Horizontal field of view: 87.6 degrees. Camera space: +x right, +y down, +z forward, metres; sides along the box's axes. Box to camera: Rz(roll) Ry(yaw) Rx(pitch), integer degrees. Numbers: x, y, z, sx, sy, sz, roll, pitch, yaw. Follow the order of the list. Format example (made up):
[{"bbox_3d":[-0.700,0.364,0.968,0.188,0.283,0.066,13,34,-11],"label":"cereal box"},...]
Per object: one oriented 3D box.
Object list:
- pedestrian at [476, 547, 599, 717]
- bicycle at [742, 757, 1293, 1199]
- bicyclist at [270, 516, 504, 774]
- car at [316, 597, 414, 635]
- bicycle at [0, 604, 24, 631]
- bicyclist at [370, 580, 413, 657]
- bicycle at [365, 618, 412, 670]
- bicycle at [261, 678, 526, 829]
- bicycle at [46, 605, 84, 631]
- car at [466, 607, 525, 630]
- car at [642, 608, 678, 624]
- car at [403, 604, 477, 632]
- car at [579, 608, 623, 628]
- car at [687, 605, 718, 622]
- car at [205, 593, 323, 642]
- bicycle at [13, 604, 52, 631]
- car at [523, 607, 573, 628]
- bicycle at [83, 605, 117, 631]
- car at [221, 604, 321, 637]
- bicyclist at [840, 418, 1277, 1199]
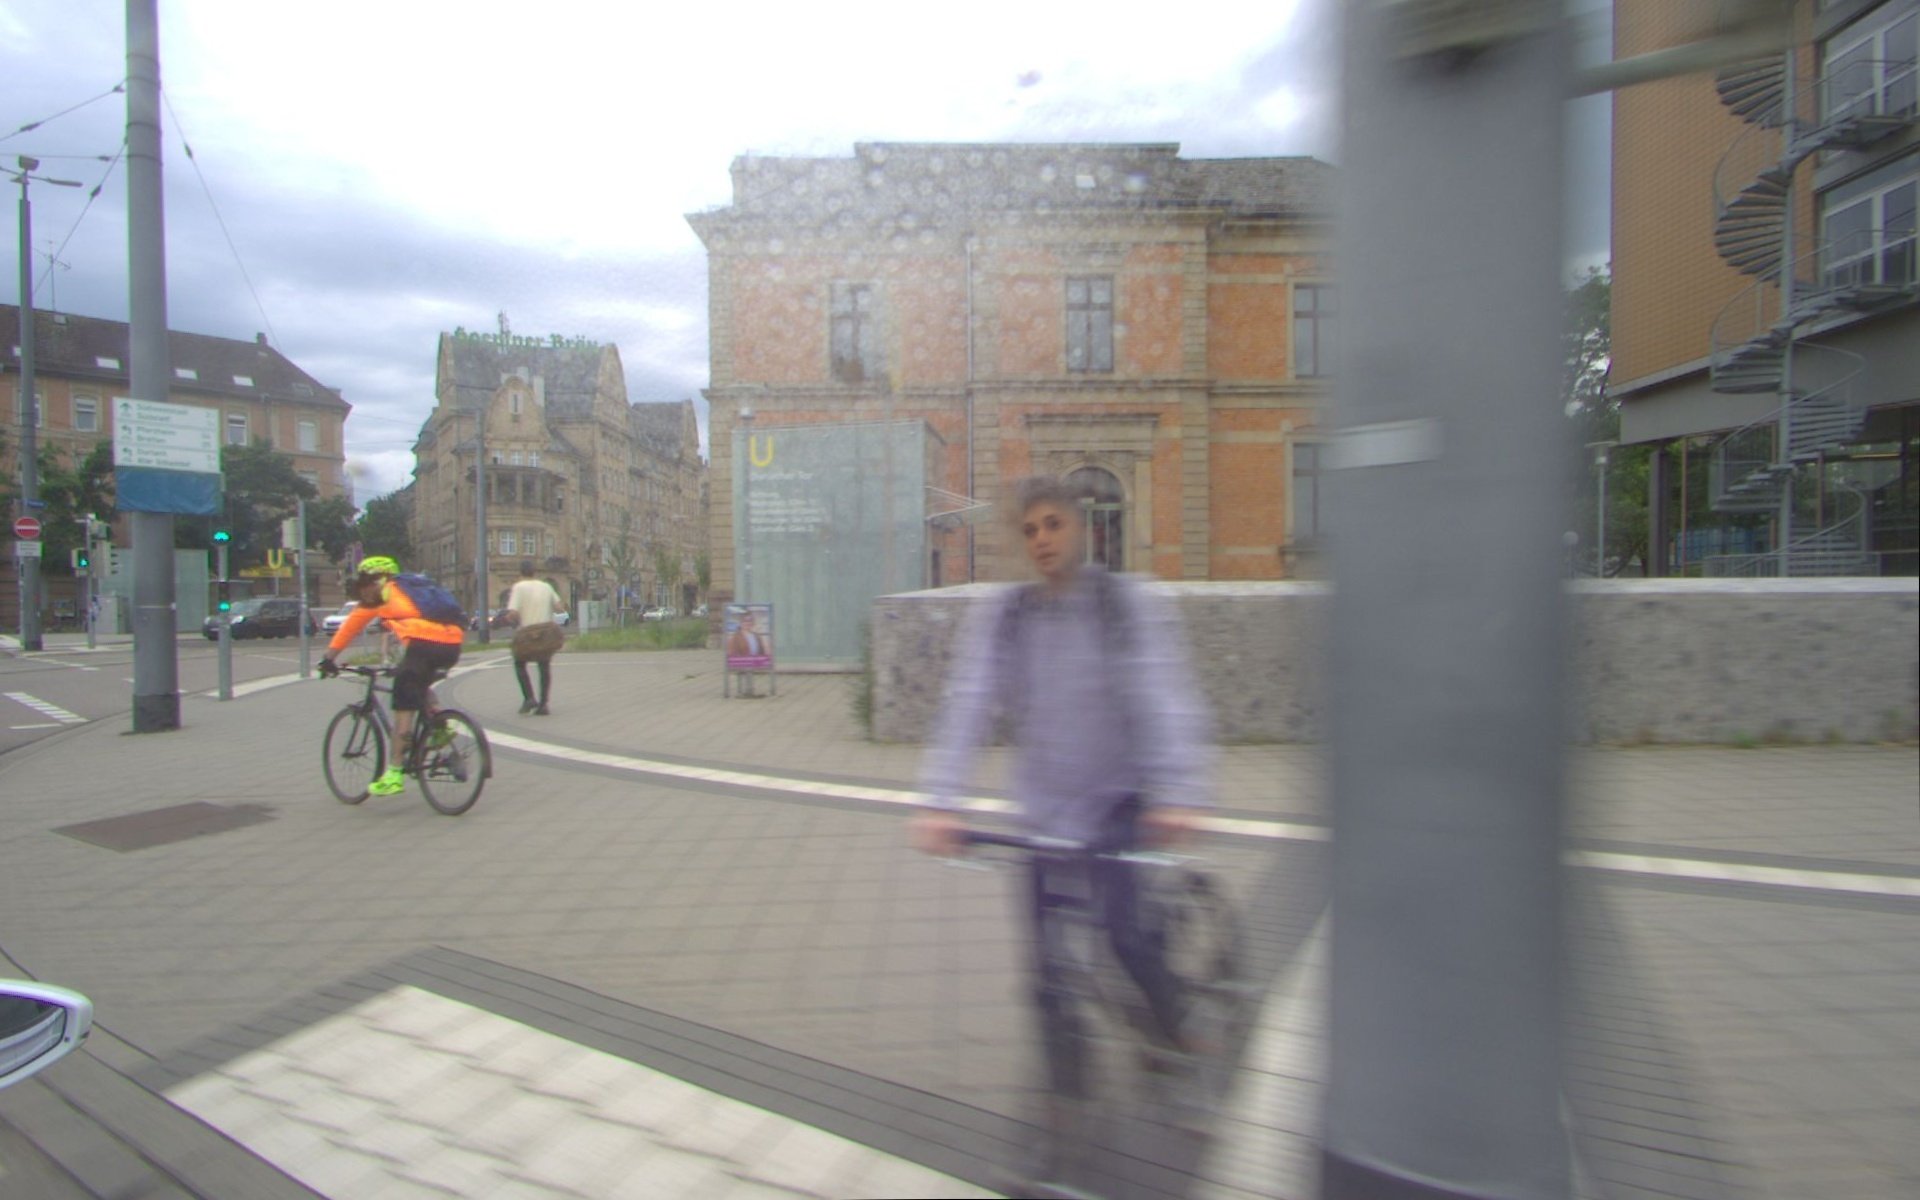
[{"bbox_3d":[-5.039,0.363,11.932,1.271,1.892,0.880,0,0,41],"label":"pedestrian"},{"bbox_3d":[0.330,0.995,2.510,0.755,0.851,1.819,0,2,25],"label":"bicycle"},{"bbox_3d":[-4.003,0.293,7.016,1.300,1.642,0.827,0,0,26],"label":"bicyclist"},{"bbox_3d":[-31.350,0.823,52.934,1.833,1.941,5.100,0,0,5],"label":"car"},{"bbox_3d":[-50.398,0.924,52.745,0.948,1.371,3.103,1,-1,-32],"label":"bicycle"},{"bbox_3d":[-12.063,0.364,21.257,0.682,1.582,0.922,-2,3,-26],"label":"bicyclist"},{"bbox_3d":[-12.109,0.913,21.259,0.662,0.946,1.851,-3,2,-25],"label":"bicycle"},{"bbox_3d":[-3.990,1.019,7.004,2.040,0.860,0.556,0,0,26],"label":"bicycle"},{"bbox_3d":[-48.490,0.978,54.287,0.948,1.371,3.103,1,-1,-32],"label":"bicycle"},{"bbox_3d":[-30.164,1.168,65.190,1.833,1.417,3.895,-2,-1,3],"label":"car"},{"bbox_3d":[-27.970,1.476,93.615,1.895,1.398,4.258,0,0,3],"label":"car"},{"bbox_3d":[-30.571,1.032,59.041,1.833,1.554,4.302,-2,-1,5],"label":"car"},{"bbox_3d":[-26.972,1.343,75.339,1.661,1.461,4.000,0,-1,4],"label":"car"},{"bbox_3d":[-27.409,1.458,106.699,1.832,1.728,4.909,-1,0,1],"label":"car"},{"bbox_3d":[-28.793,0.714,41.608,1.661,1.925,4.387,0,-1,4],"label":"car"},{"bbox_3d":[-49.495,0.949,53.463,0.948,1.371,3.103,1,-1,-32],"label":"bicycle"},{"bbox_3d":[-30.086,1.275,73.303,1.718,1.398,4.362,-3,-1,1],"label":"car"},{"bbox_3d":[-47.615,1.015,55.467,0.948,1.371,3.103,1,-1,-32],"label":"bicycle"},{"bbox_3d":[-31.601,0.913,46.036,1.661,1.461,4.000,0,-1,4],"label":"car"},{"bbox_3d":[0.317,0.450,2.464,0.748,1.541,1.097,0,0,25],"label":"bicyclist"}]
